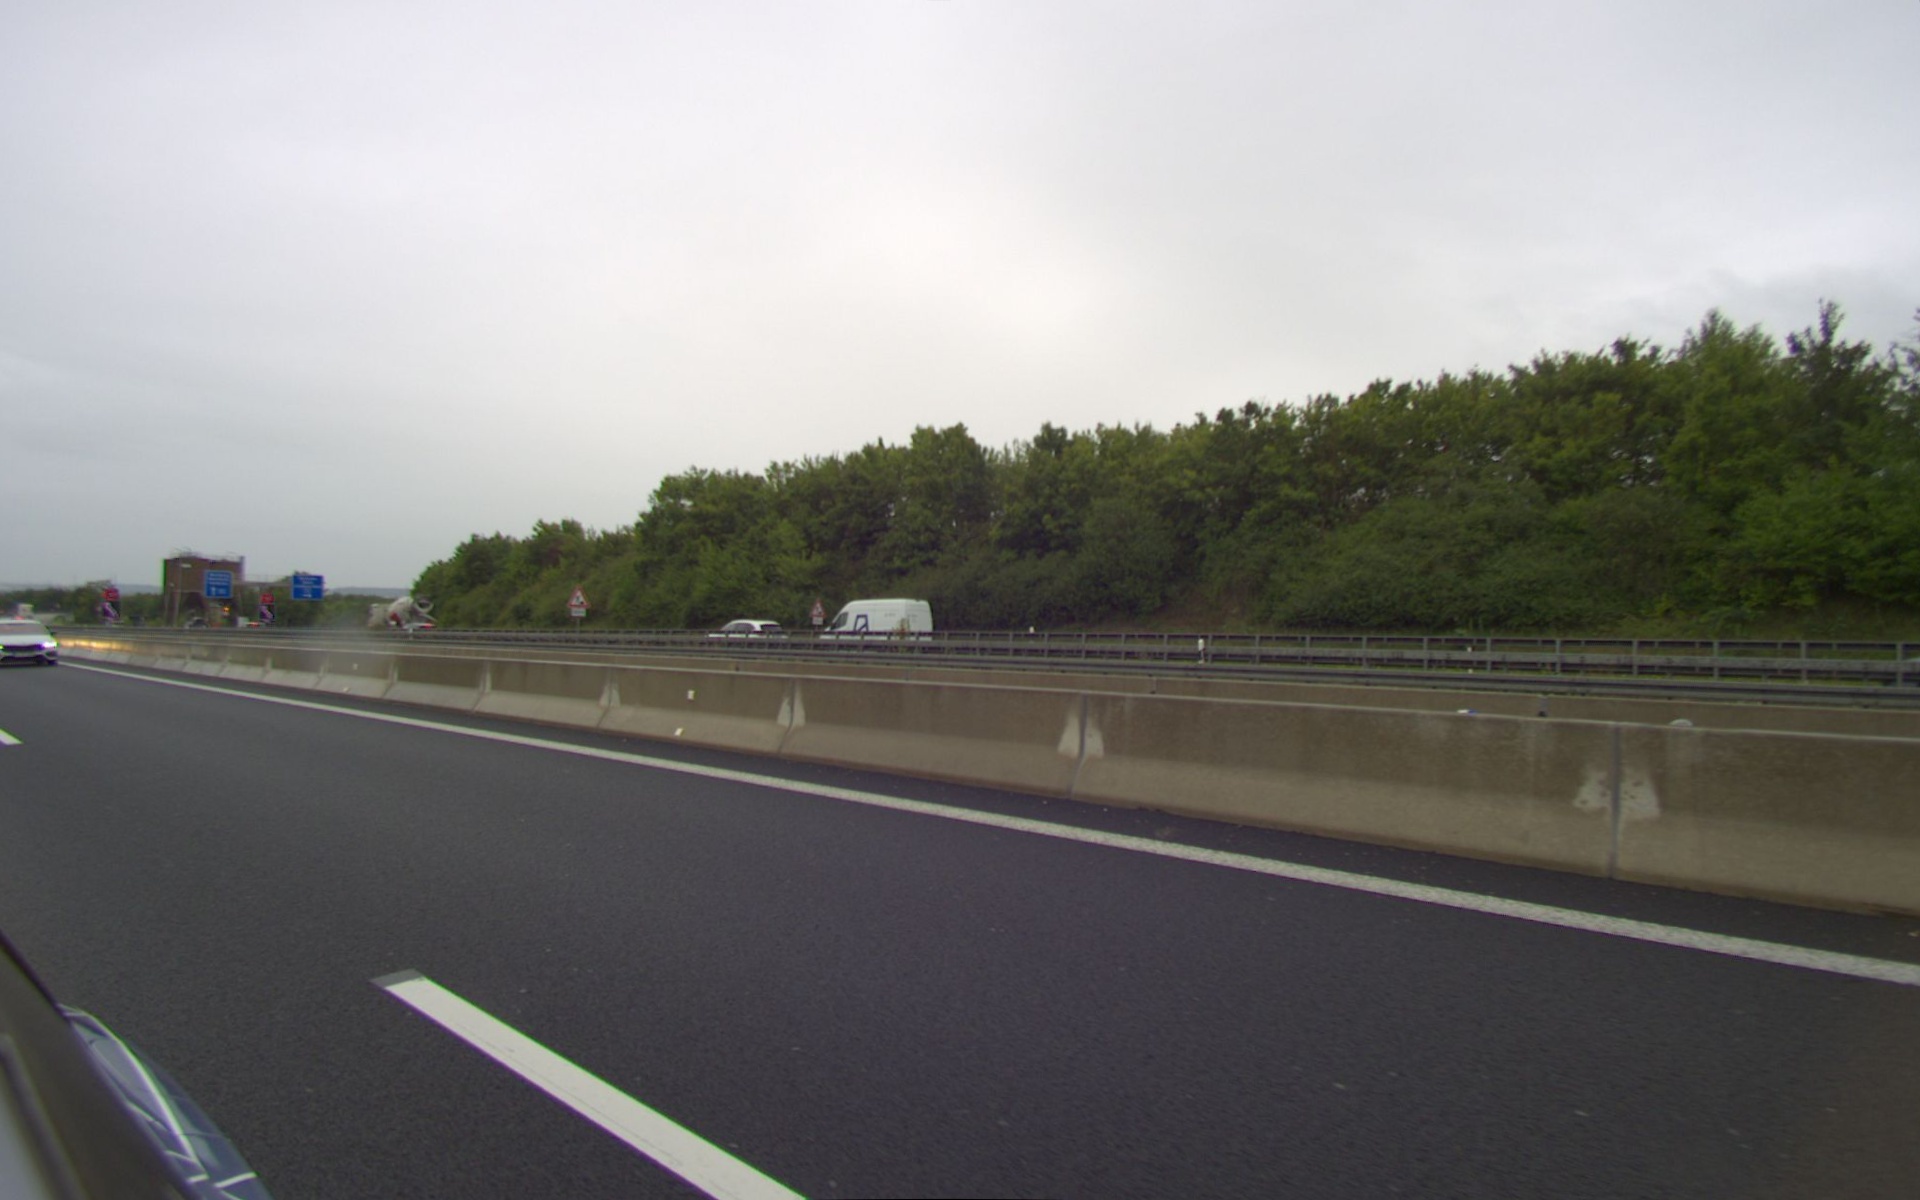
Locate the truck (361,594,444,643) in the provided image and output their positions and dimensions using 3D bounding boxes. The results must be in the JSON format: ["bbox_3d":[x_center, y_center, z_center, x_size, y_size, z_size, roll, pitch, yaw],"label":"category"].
[{"bbox_3d":[-44.936,1.522,81.444,9.551,3.689,2.658,-1,-2,40],"label":"truck"}]

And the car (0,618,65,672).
[{"bbox_3d":[-30.078,1.387,32.038,4.813,1.603,1.973,-1,-1,41],"label":"car"}]

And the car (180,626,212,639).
[{"bbox_3d":[-84.960,3.638,112.552,4.674,1.417,1.972,-1,-2,42],"label":"car"}]

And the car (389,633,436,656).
[{"bbox_3d":[-37.124,2.990,68.556,3.917,1.436,1.573,-1,-1,42],"label":"car"}]

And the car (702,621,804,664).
[{"bbox_3d":[-9.072,1.819,44.202,4.579,1.750,1.973,-1,-2,40],"label":"car"}]

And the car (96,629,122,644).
[{"bbox_3d":[-117.526,4.988,139.803,4.712,2.029,1.973,-1,-1,40],"label":"car"}]

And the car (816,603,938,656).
[{"bbox_3d":[-3.733,1.292,44.765,5.712,2.230,1.973,-1,-2,41],"label":"car"}]

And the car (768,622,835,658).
[{"bbox_3d":[-9.257,2.302,58.866,3.999,2.029,1.731,-1,-2,42],"label":"car"}]

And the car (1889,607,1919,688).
[{"bbox_3d":[20.513,0.880,18.808,4.687,1.549,1.972,-1,-2,42],"label":"car"}]
